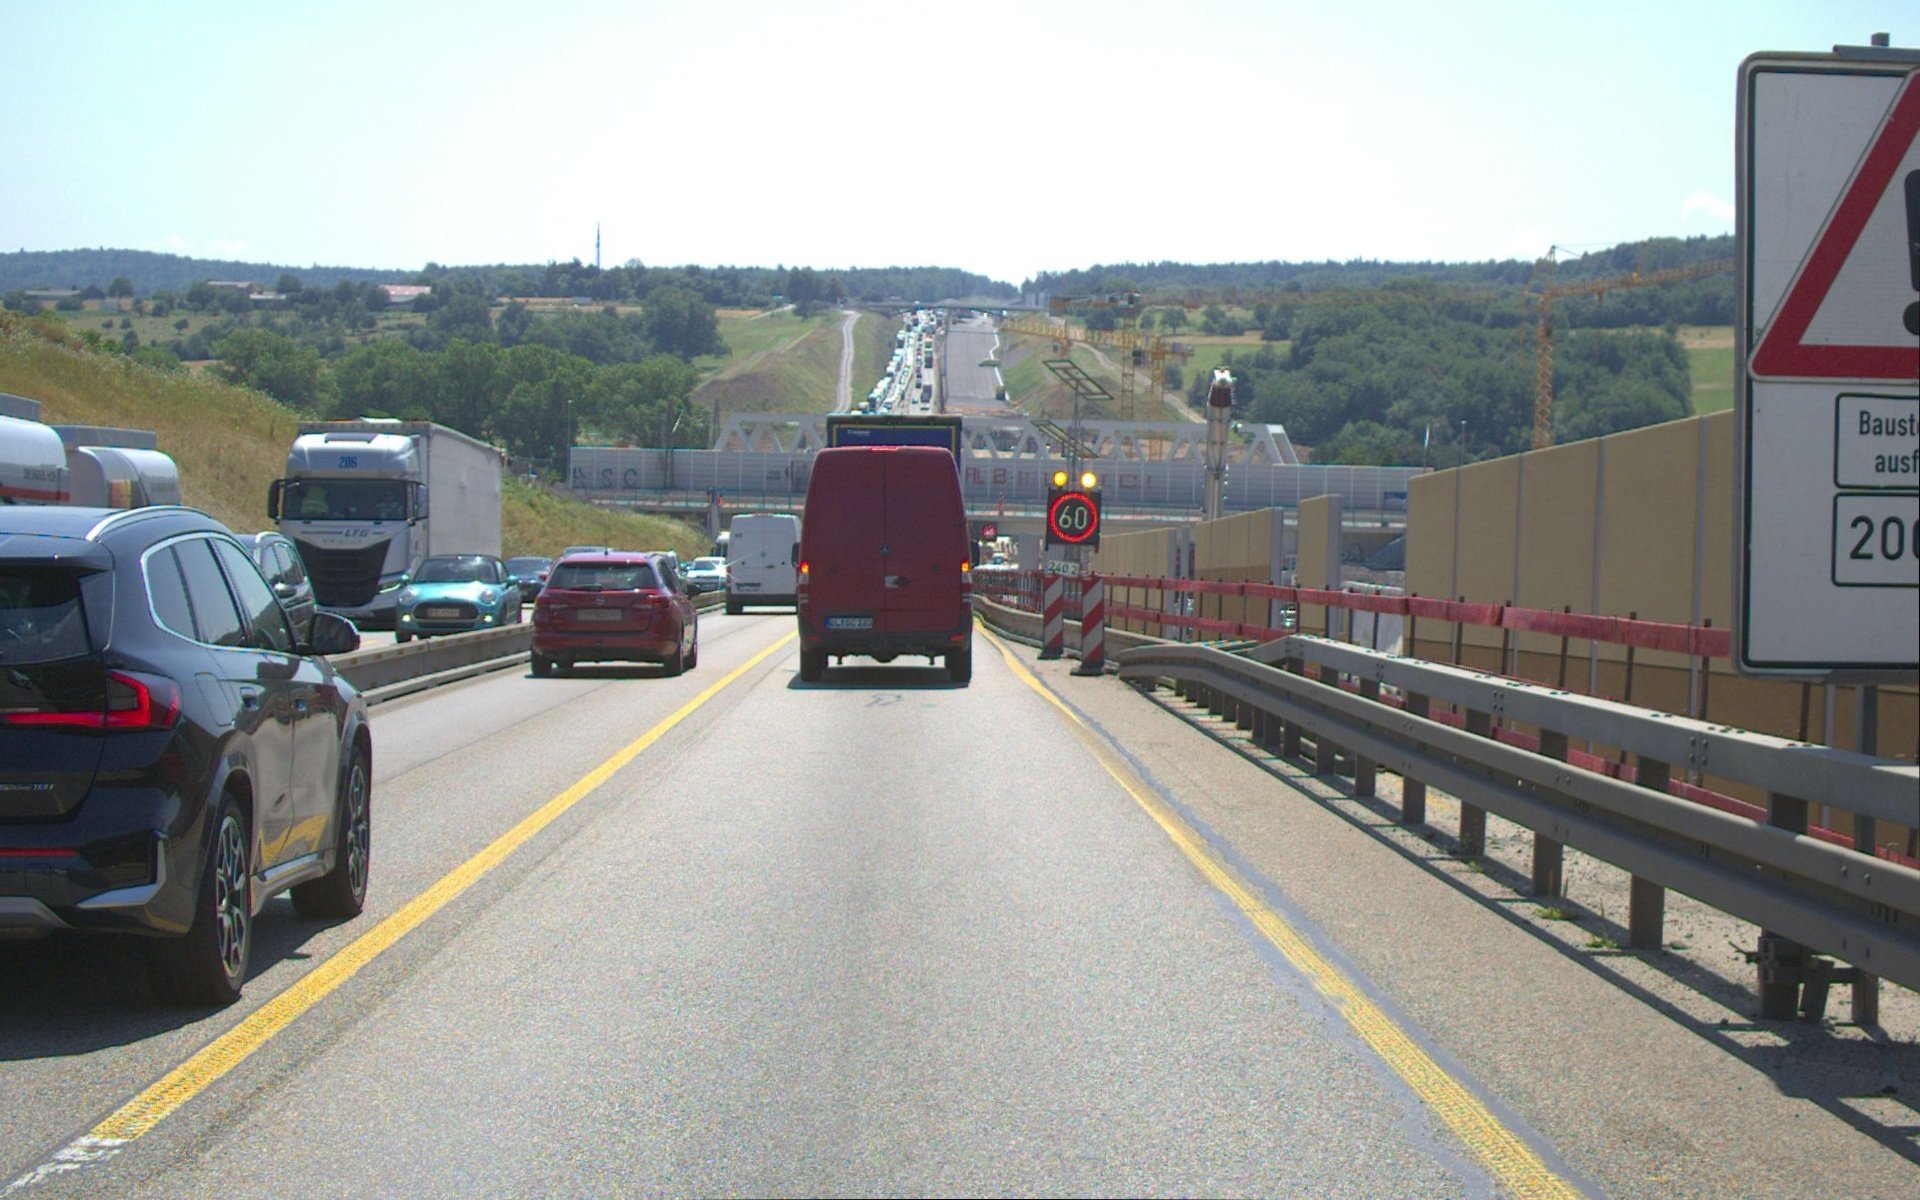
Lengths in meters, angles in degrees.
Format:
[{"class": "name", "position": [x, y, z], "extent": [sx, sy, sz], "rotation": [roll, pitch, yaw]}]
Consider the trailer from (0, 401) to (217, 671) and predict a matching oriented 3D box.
[{"class": "trailer", "position": [-10.923, -0.773, 41.450], "extent": [2.612, 2.990, 6.371], "rotation": [1, 1, -1]}]

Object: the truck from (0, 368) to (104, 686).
[{"class": "truck", "position": [-10.809, -0.733, 33.670], "extent": [2.726, 3.132, 8.960], "rotation": [1, 1, -1]}]

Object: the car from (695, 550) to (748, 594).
[{"class": "car", "position": [-9.188, -1.096, 132.736], "extent": [1.839, 1.649, 5.372], "rotation": [0, 1, -2]}]

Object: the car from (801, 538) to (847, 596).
[{"class": "car", "position": [-5.582, -1.356, 141.317], "extent": [1.776, 2.322, 4.206], "rotation": [0, 1, -1]}]

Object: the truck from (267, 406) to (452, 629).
[{"class": "truck", "position": [-11.638, -1.585, 67.024], "extent": [2.745, 4.167, 5.289], "rotation": [0, 1, -1]}]

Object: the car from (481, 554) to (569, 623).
[{"class": "car", "position": [-12.515, -0.353, 99.175], "extent": [2.038, 1.920, 5.122], "rotation": [-1, 1, -2]}]

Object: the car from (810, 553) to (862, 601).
[{"class": "car", "position": [-4.369, -0.825, 121.386], "extent": [1.776, 1.664, 4.029], "rotation": [0, 1, -1]}]

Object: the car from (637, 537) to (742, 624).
[{"class": "car", "position": [-5.267, -0.402, 67.435], "extent": [1.839, 1.649, 4.165], "rotation": [0, 1, -2]}]

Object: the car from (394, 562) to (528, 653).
[{"class": "car", "position": [-7.994, 0.093, 55.311], "extent": [1.665, 1.389, 3.905], "rotation": [0, 1, -1]}]

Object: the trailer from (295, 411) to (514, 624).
[{"class": "trailer", "position": [-11.809, -1.726, 74.496], "extent": [2.785, 4.167, 13.980], "rotation": [0, 1, -1]}]

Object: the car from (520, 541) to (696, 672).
[{"class": "car", "position": [-4.212, 0.050, 41.688], "extent": [1.776, 1.512, 4.206], "rotation": [0, 1, -1]}]

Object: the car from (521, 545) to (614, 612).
[{"class": "car", "position": [-8.707, -0.497, 76.512], "extent": [1.669, 1.461, 4.000], "rotation": [0, 1, -1]}]

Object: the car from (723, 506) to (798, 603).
[{"class": "car", "position": [-5.109, -1.163, 88.435], "extent": [1.776, 2.433, 4.206], "rotation": [0, 1, -1]}]

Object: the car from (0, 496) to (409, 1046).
[{"class": "car", "position": [-3.236, 0.476, 12.321], "extent": [1.879, 1.612, 4.499], "rotation": [0, 1, -1]}]

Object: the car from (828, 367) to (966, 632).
[{"class": "car", "position": [-1.291, -1.955, 70.175], "extent": [2.621, 5.015, 10.397], "rotation": [0, 1, -1]}]

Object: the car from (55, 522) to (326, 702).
[{"class": "car", "position": [-7.501, 0.074, 33.899], "extent": [1.718, 1.629, 4.500], "rotation": [1, 1, -1]}]

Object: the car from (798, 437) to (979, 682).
[{"class": "car", "position": [-0.827, -0.472, 40.055], "extent": [1.988, 2.681, 4.624], "rotation": [0, 1, -1]}]

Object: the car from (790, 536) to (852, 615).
[{"class": "car", "position": [-4.182, -0.754, 103.815], "extent": [1.776, 2.322, 4.206], "rotation": [0, 1, -1]}]
